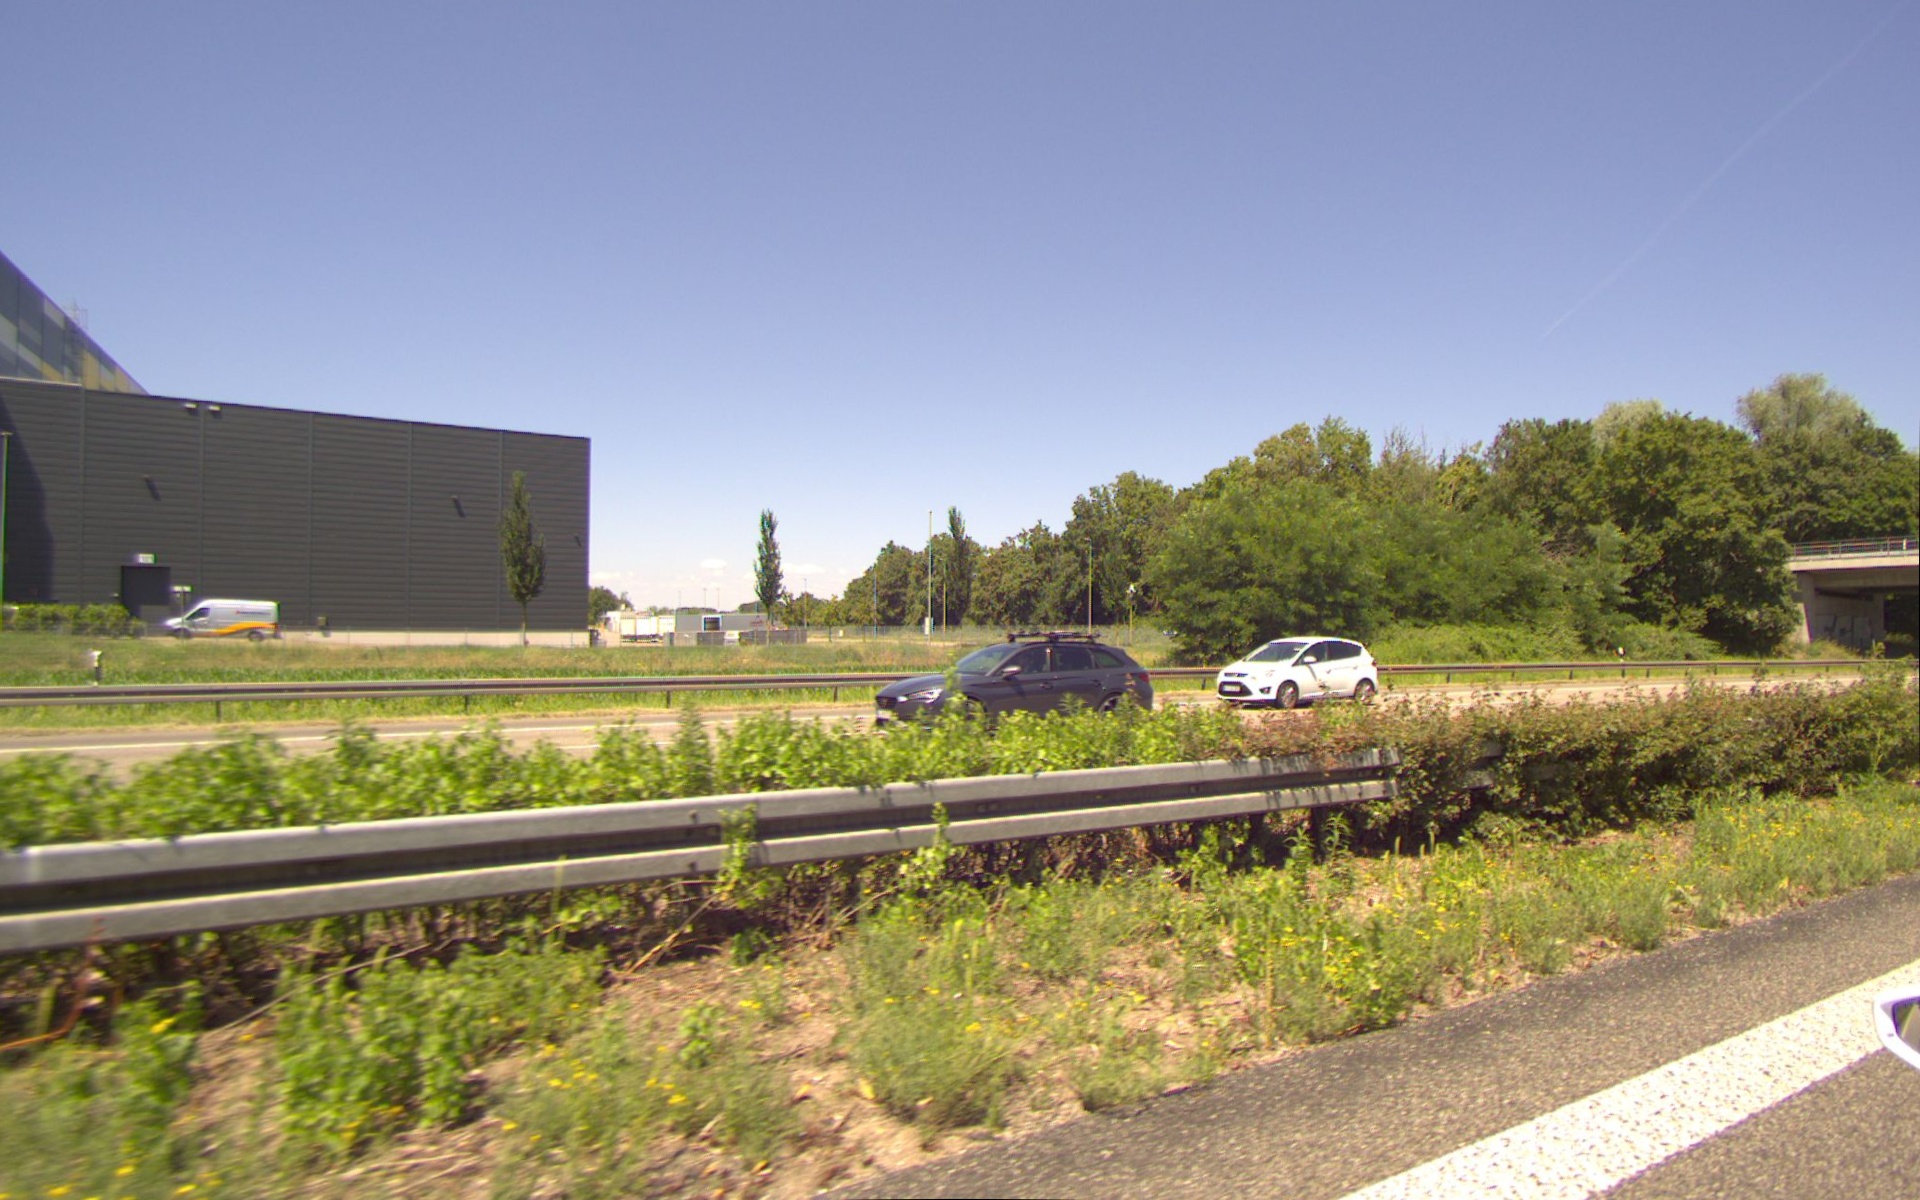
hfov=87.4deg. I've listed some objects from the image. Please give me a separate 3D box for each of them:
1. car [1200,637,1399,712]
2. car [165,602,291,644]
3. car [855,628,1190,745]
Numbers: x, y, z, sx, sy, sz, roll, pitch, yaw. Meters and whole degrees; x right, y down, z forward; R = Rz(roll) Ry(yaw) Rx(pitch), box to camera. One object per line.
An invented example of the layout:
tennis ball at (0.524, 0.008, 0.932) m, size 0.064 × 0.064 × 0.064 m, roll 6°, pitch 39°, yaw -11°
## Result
car at (8.064, 1.700, 23.738) m, size 4.689 × 1.614 × 1.890 m, roll 2°, pitch -3°, yaw -31°
car at (-45.769, 1.495, 63.014) m, size 6.101 × 2.488 × 2.386 m, roll 1°, pitch -2°, yaw -30°
car at (1.039, 1.285, 15.519) m, size 4.975 × 1.552 × 1.890 m, roll 2°, pitch -5°, yaw -31°
